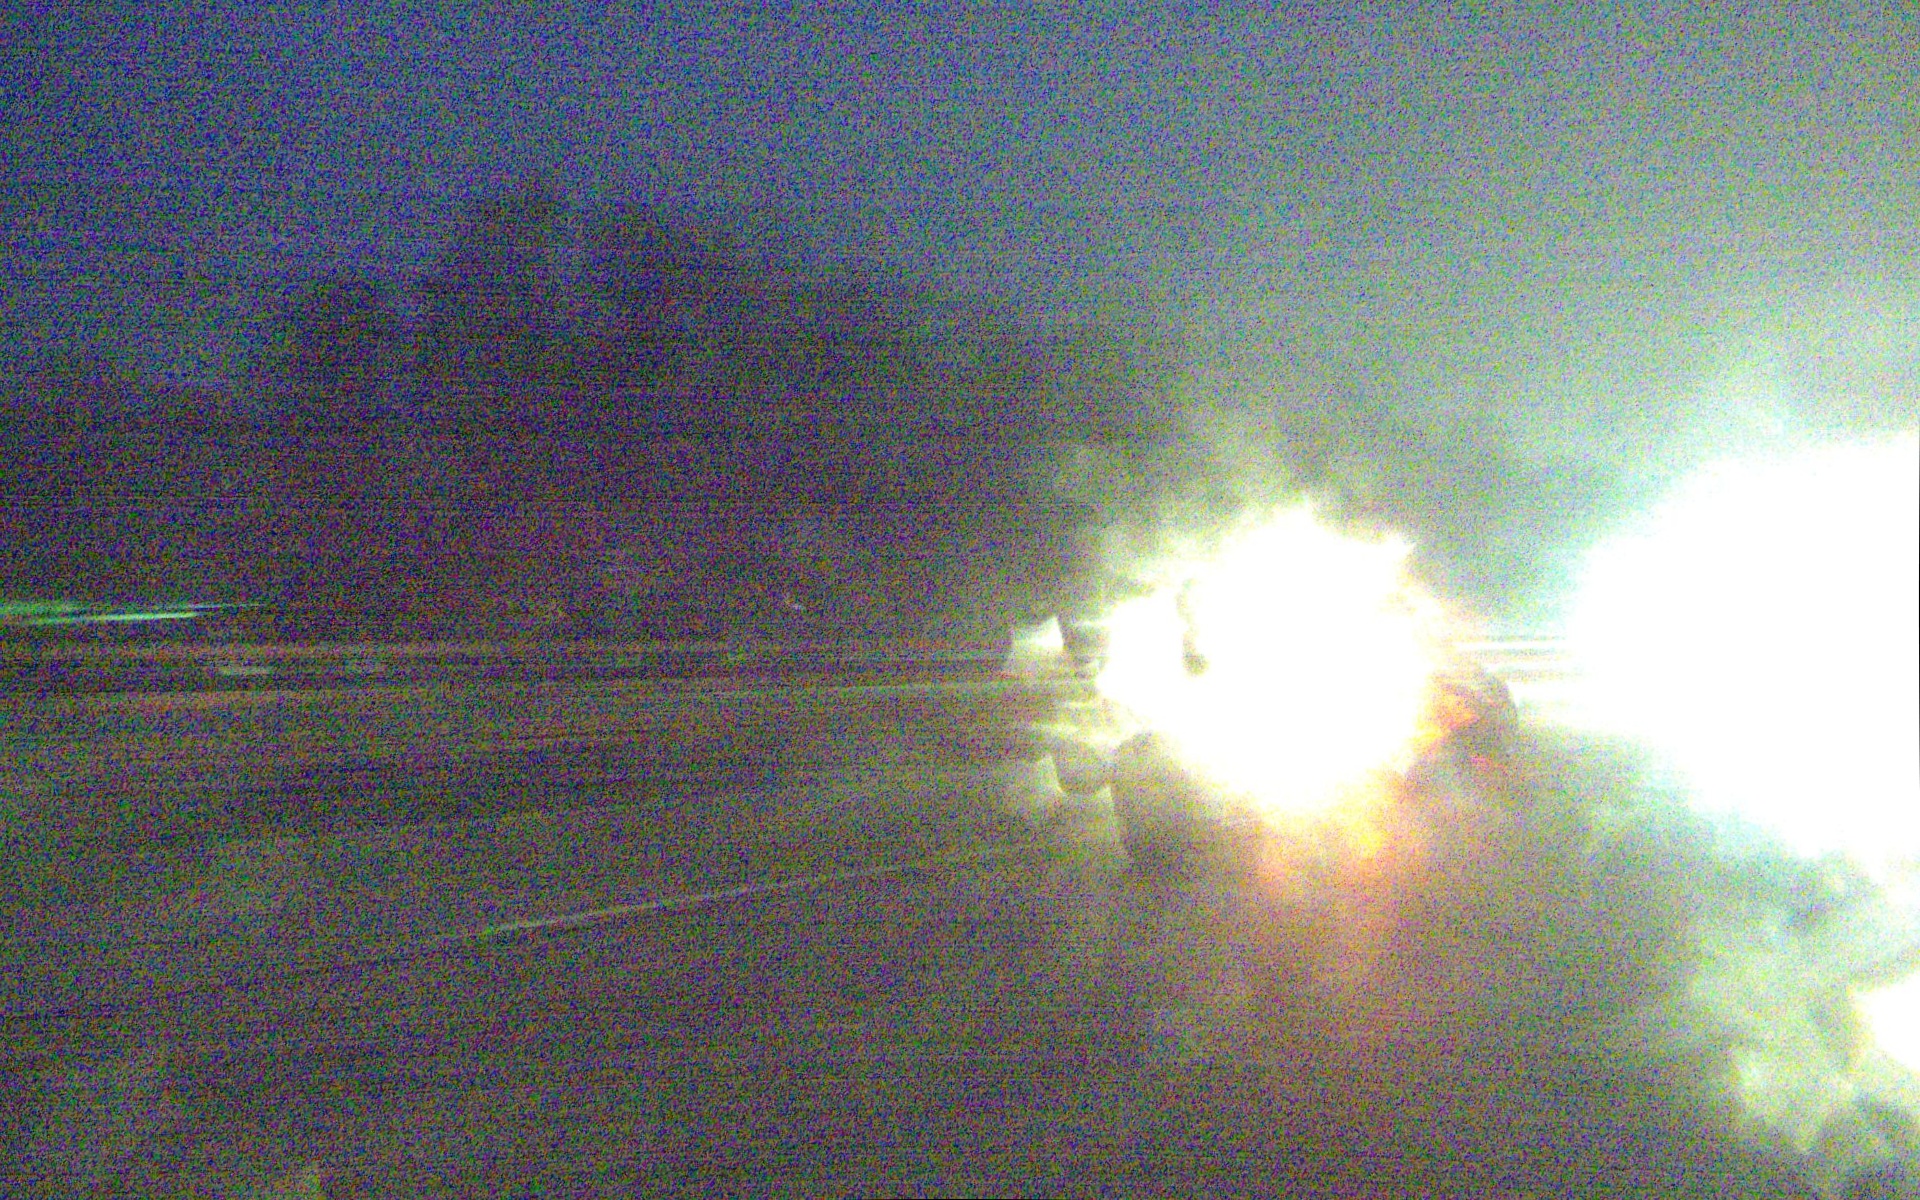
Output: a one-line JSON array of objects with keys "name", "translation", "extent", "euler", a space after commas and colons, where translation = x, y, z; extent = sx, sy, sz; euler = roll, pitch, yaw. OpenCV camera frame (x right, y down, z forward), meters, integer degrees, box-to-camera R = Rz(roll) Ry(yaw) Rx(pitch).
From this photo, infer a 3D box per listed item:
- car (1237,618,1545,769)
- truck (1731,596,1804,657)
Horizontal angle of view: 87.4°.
[{"name": "car", "translation": [5.346, 1.053, 12.342], "extent": [3.808, 1.596, 1.640], "euler": [1, -3, -33]}, {"name": "truck", "translation": [56.562, 1.845, 70.316], "extent": [3.362, 4.026, 7.414], "euler": [0, -1, 44]}]
